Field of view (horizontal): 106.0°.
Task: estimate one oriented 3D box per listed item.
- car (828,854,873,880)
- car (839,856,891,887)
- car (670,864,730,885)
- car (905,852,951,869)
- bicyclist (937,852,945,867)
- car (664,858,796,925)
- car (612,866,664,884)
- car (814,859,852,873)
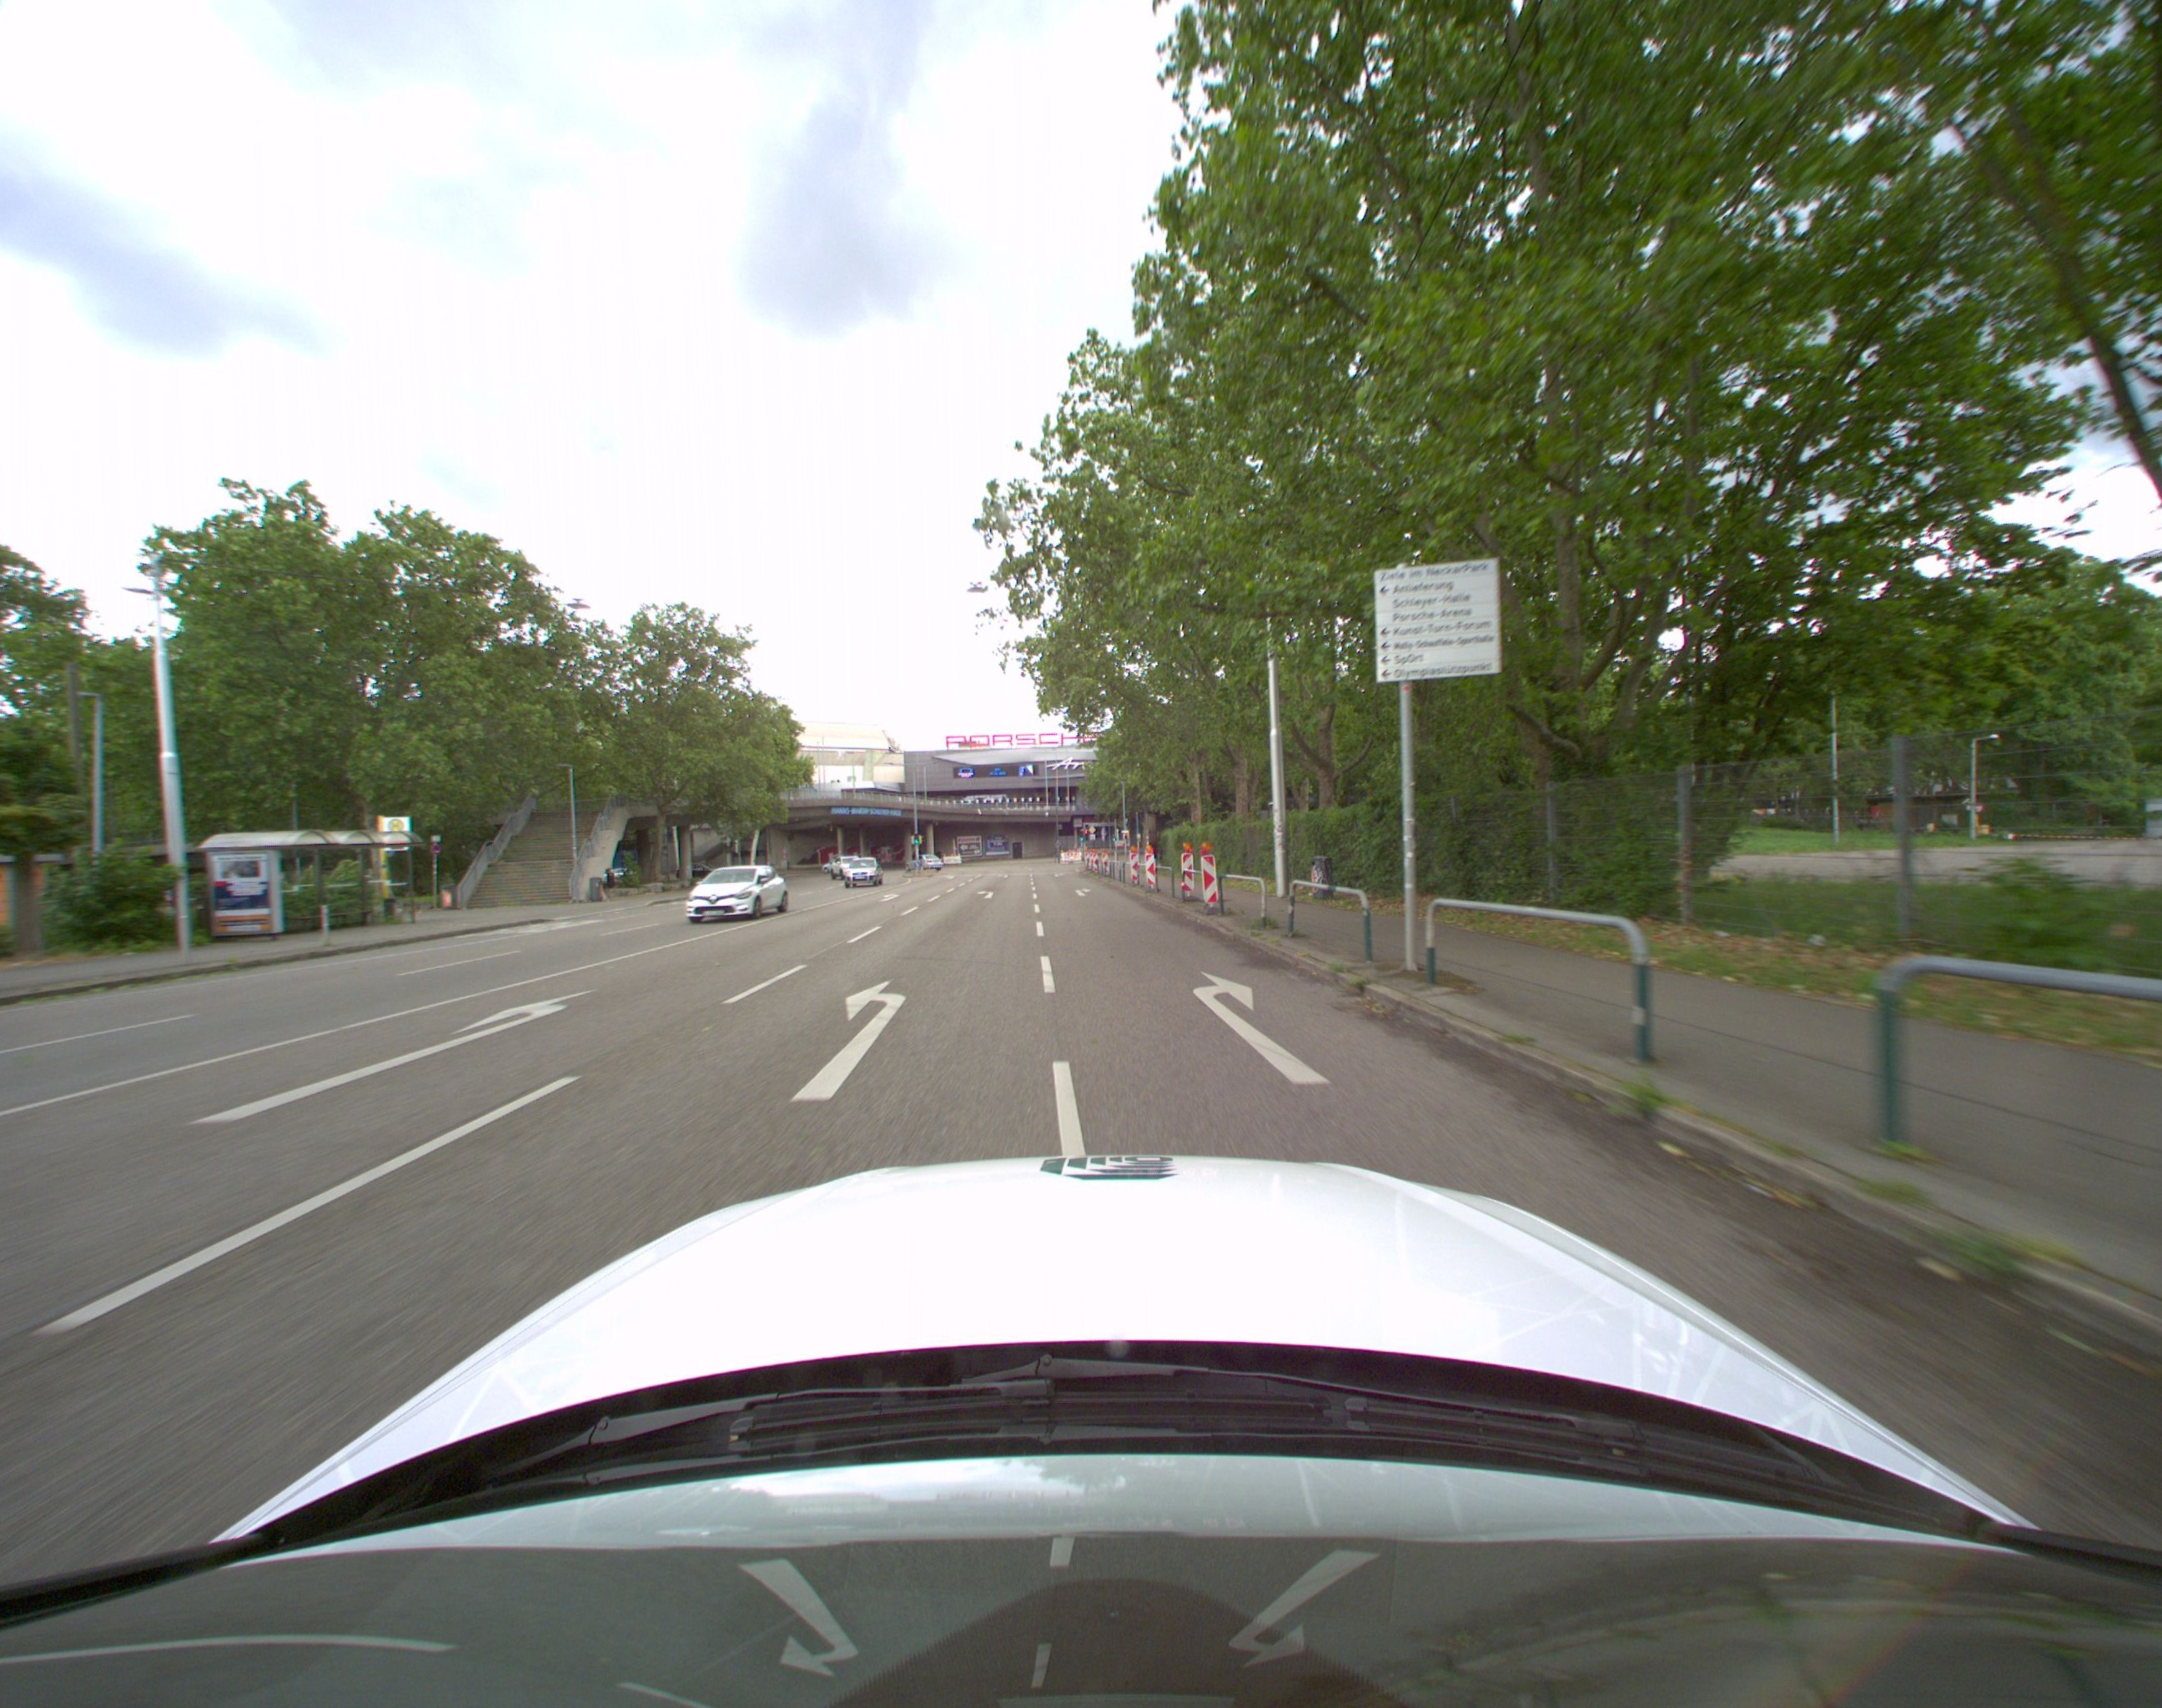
[{"bbox_3d":[-16.710,0.905,58.858,2.007,1.744,4.549,-2,0,-31],"label":"car"},{"bbox_3d":[-11.689,0.924,44.351,1.990,1.525,3.993,-3,0,-5],"label":"car"},{"bbox_3d":[-33.789,1.829,72.279,4.398,1.606,1.775,-3,0,0],"label":"car"},{"bbox_3d":[-13.857,0.594,73.550,3.949,1.418,2.013,-1,0,41],"label":"car"},{"bbox_3d":[-17.050,0.670,99.356,0.851,1.697,0.765,-1,0,-8],"label":"bicyclist"},{"bbox_3d":[-9.571,0.955,22.643,1.990,1.530,4.377,-3,0,-5],"label":"car"},{"bbox_3d":[-44.082,2.054,81.123,3.981,1.660,1.996,-2,0,-6],"label":"car"},{"bbox_3d":[-24.545,1.217,80.676,3.353,1.313,1.625,-2,0,24],"label":"car"}]
